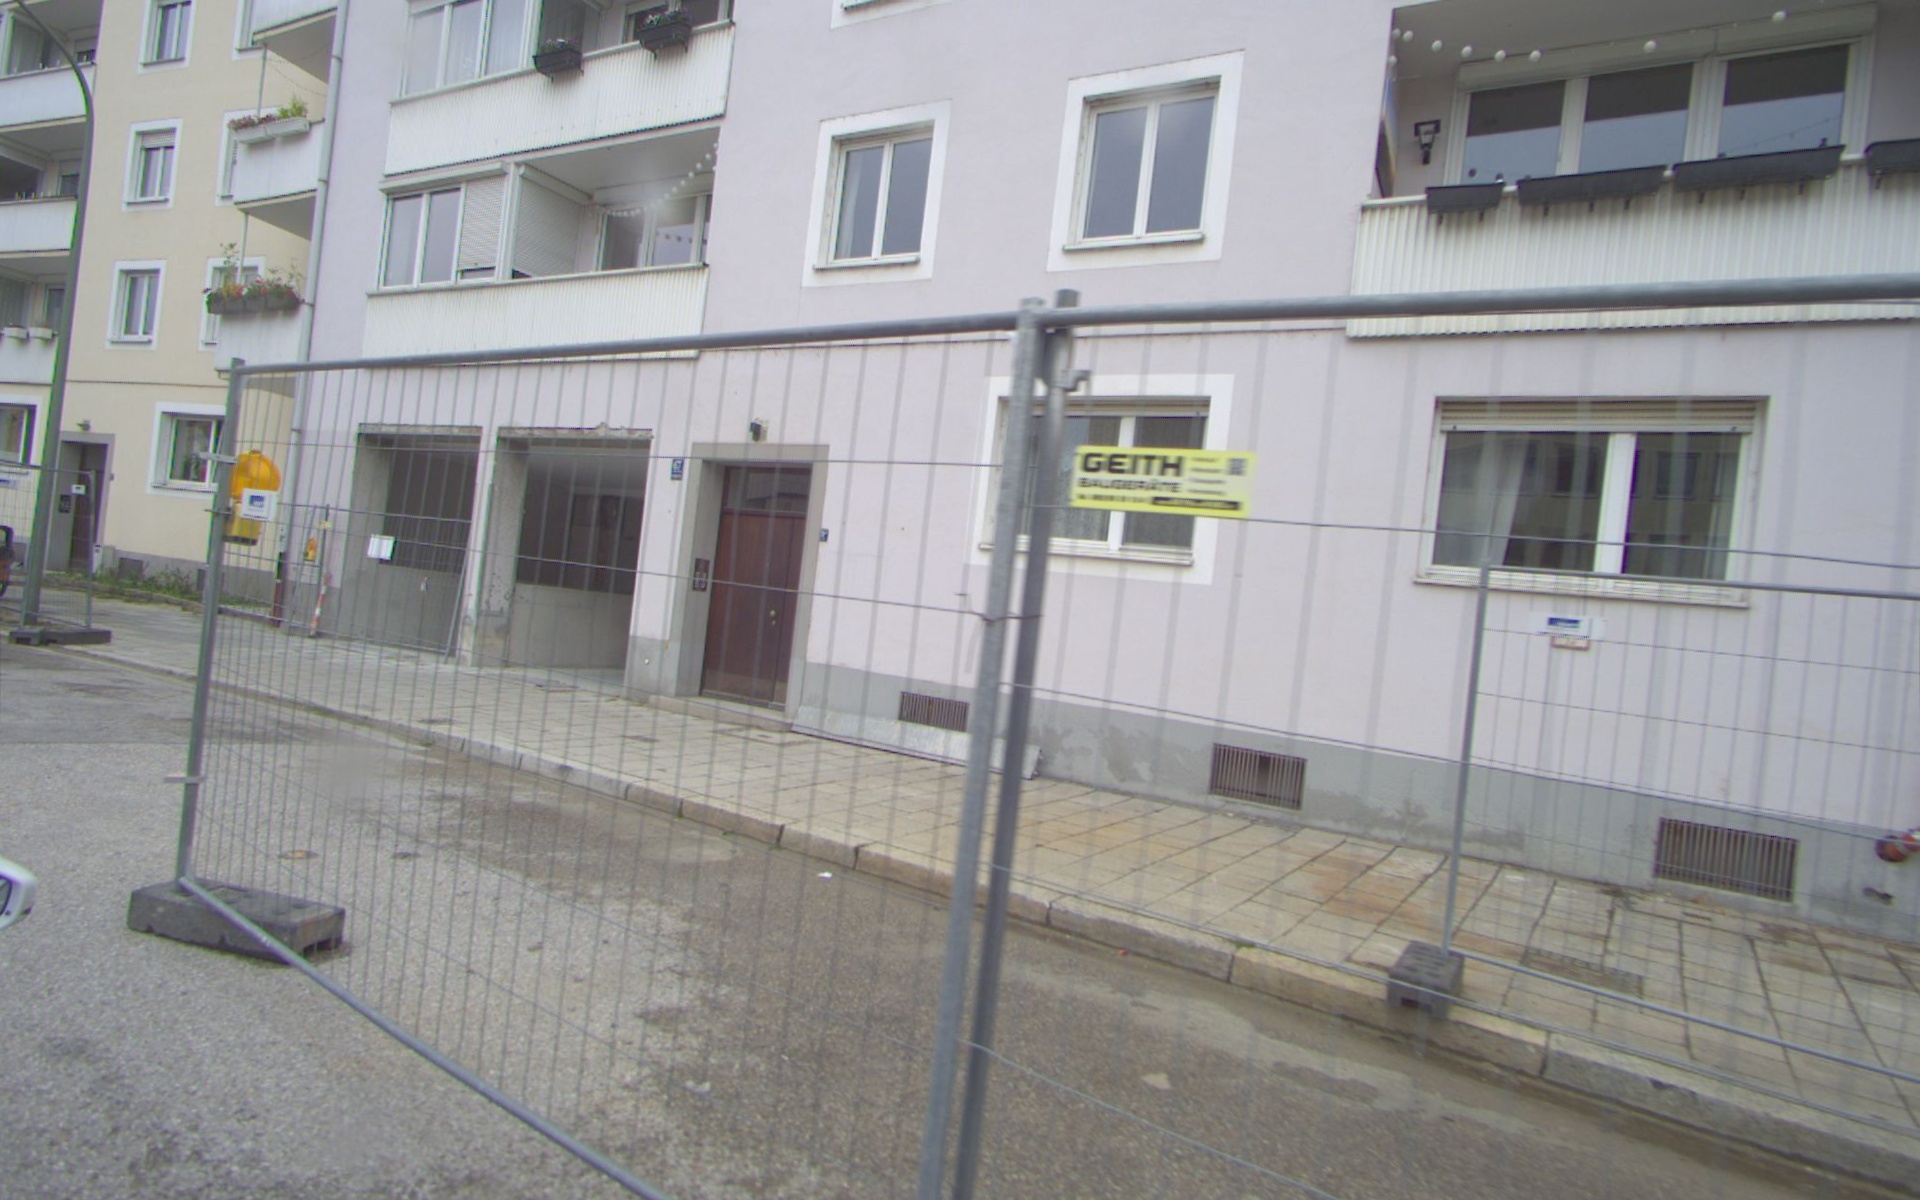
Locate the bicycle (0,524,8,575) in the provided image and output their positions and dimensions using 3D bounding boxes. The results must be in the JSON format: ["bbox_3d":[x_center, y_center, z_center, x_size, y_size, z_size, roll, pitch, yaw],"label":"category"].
[{"bbox_3d":[-21.382,-1.206,20.798,0.902,1.082,2.240,7,-1,21],"label":"bicycle"}]

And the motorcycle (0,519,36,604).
[{"bbox_3d":[-15.555,-0.713,15.448,2.461,1.236,0.935,7,0,21],"label":"motorcycle"}]
